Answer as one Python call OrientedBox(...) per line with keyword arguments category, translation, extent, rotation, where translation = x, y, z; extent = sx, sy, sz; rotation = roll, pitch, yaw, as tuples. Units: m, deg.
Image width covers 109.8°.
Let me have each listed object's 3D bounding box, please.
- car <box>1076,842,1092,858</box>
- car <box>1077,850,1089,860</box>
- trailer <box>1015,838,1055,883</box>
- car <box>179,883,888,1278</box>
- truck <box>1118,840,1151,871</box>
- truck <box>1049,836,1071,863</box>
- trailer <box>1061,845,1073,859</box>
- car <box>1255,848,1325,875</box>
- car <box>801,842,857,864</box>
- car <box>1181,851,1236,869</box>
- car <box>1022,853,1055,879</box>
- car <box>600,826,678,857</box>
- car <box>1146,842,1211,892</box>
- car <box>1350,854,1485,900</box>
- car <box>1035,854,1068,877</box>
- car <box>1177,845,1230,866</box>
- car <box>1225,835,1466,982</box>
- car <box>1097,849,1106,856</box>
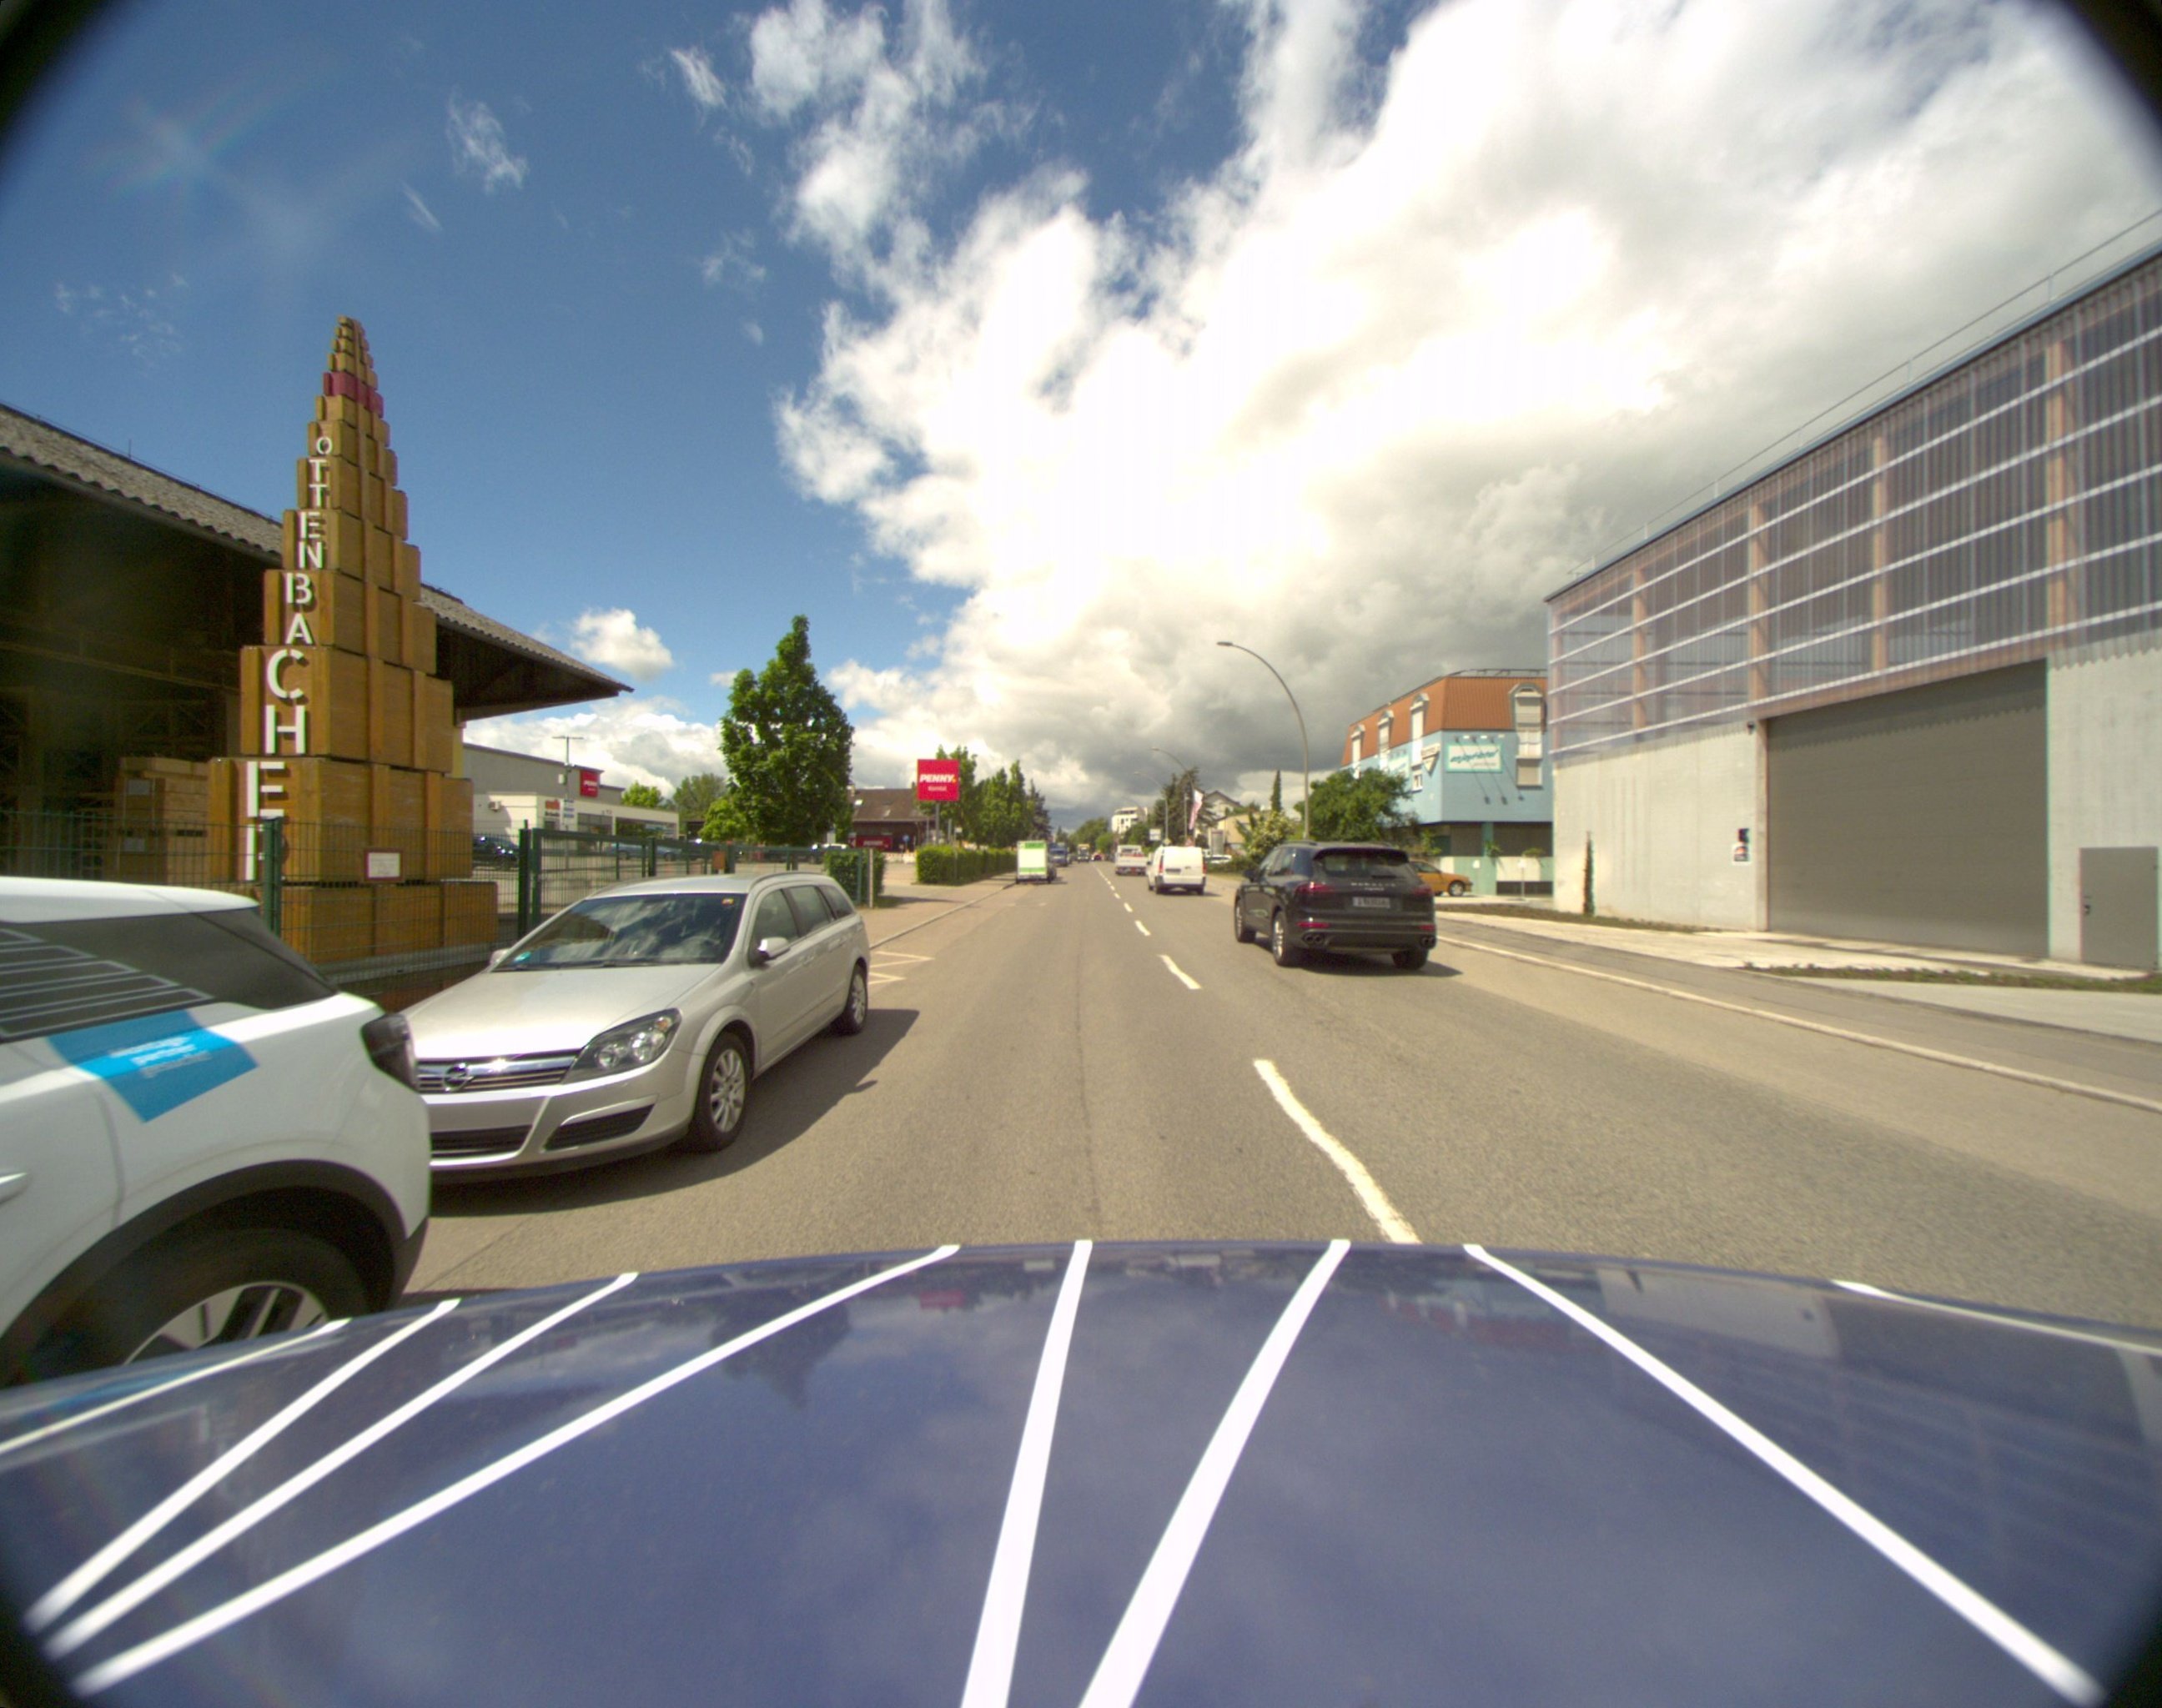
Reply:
OrientedBox(category="car", translation=(0.653, -0.855, 174.816), extent=(3.263, 3.595, 10.269), rotation=(-1, -1, -1))
OrientedBox(category="car", translation=(0.361, 0.106, 129.497), extent=(1.891, 1.708, 3.999), rotation=(1, 0, 0))
OrientedBox(category="trailer", translation=(-2.415, 0.338, 41.184), extent=(1.946, 2.281, 4.445), rotation=(0, 0, -1))
OrientedBox(category="car", translation=(-2.795, 1.016, 5.294), extent=(1.796, 1.441, 4.363), rotation=(1, 0, 0))
OrientedBox(category="truck", translation=(3.976, 0.128, 57.416), extent=(2.324, 2.166, 6.450), rotation=(1, 0, 2))
OrientedBox(category="truck", translation=(-2.473, -0.487, 92.704), extent=(2.326, 3.079, 6.042), rotation=(-2, 0, 1))
OrientedBox(category="trailer", translation=(-2.231, -0.277, 122.658), extent=(1.777, 2.132, 4.114), rotation=(0, 0, 0))
OrientedBox(category="car", translation=(12.345, 0.427, 44.998), extent=(3.636, 1.524, 1.980), rotation=(0, 0, 3))
OrientedBox(category="car", translation=(-21.323, -0.056, 64.450), extent=(3.997, 1.696, 2.000), rotation=(-2, 0, -2))
OrientedBox(category="car", translation=(10.806, 0.481, 64.535), extent=(4.385, 1.470, 1.871), rotation=(0, 2, 1))
OrientedBox(category="car", translation=(-2.634, 0.730, 47.660), extent=(1.947, 1.562, 4.445), rotation=(0, 0, -2))
OrientedBox(category="car", translation=(-29.888, -0.849, 51.522), extent=(4.308, 1.892, 1.996), rotation=(-2, 0, -23))
OrientedBox(category="car", translation=(3.899, 0.509, 31.237), extent=(1.999, 1.877, 5.116), rotation=(0, 0, 0))
OrientedBox(category="car", translation=(12.430, 0.820, 28.212), extent=(4.161, 1.483, 1.825), rotation=(-2, 0, -3))
OrientedBox(category="car", translation=(-2.073, 0.809, 54.390), extent=(1.946, 1.562, 4.446), rotation=(0, 0, 2))
OrientedBox(category="car", translation=(11.598, 0.160, 72.209), extent=(4.664, 1.960, 2.115), rotation=(0, 0, -3))
OrientedBox(category="car", translation=(3.585, 0.658, 11.330), extent=(1.998, 1.723, 4.548), rotation=(1, 0, 0))
OrientedBox(category="car", translation=(4.830, -0.368, 179.926), extent=(1.999, 1.606, 4.411), rotation=(1, 0, 0))
